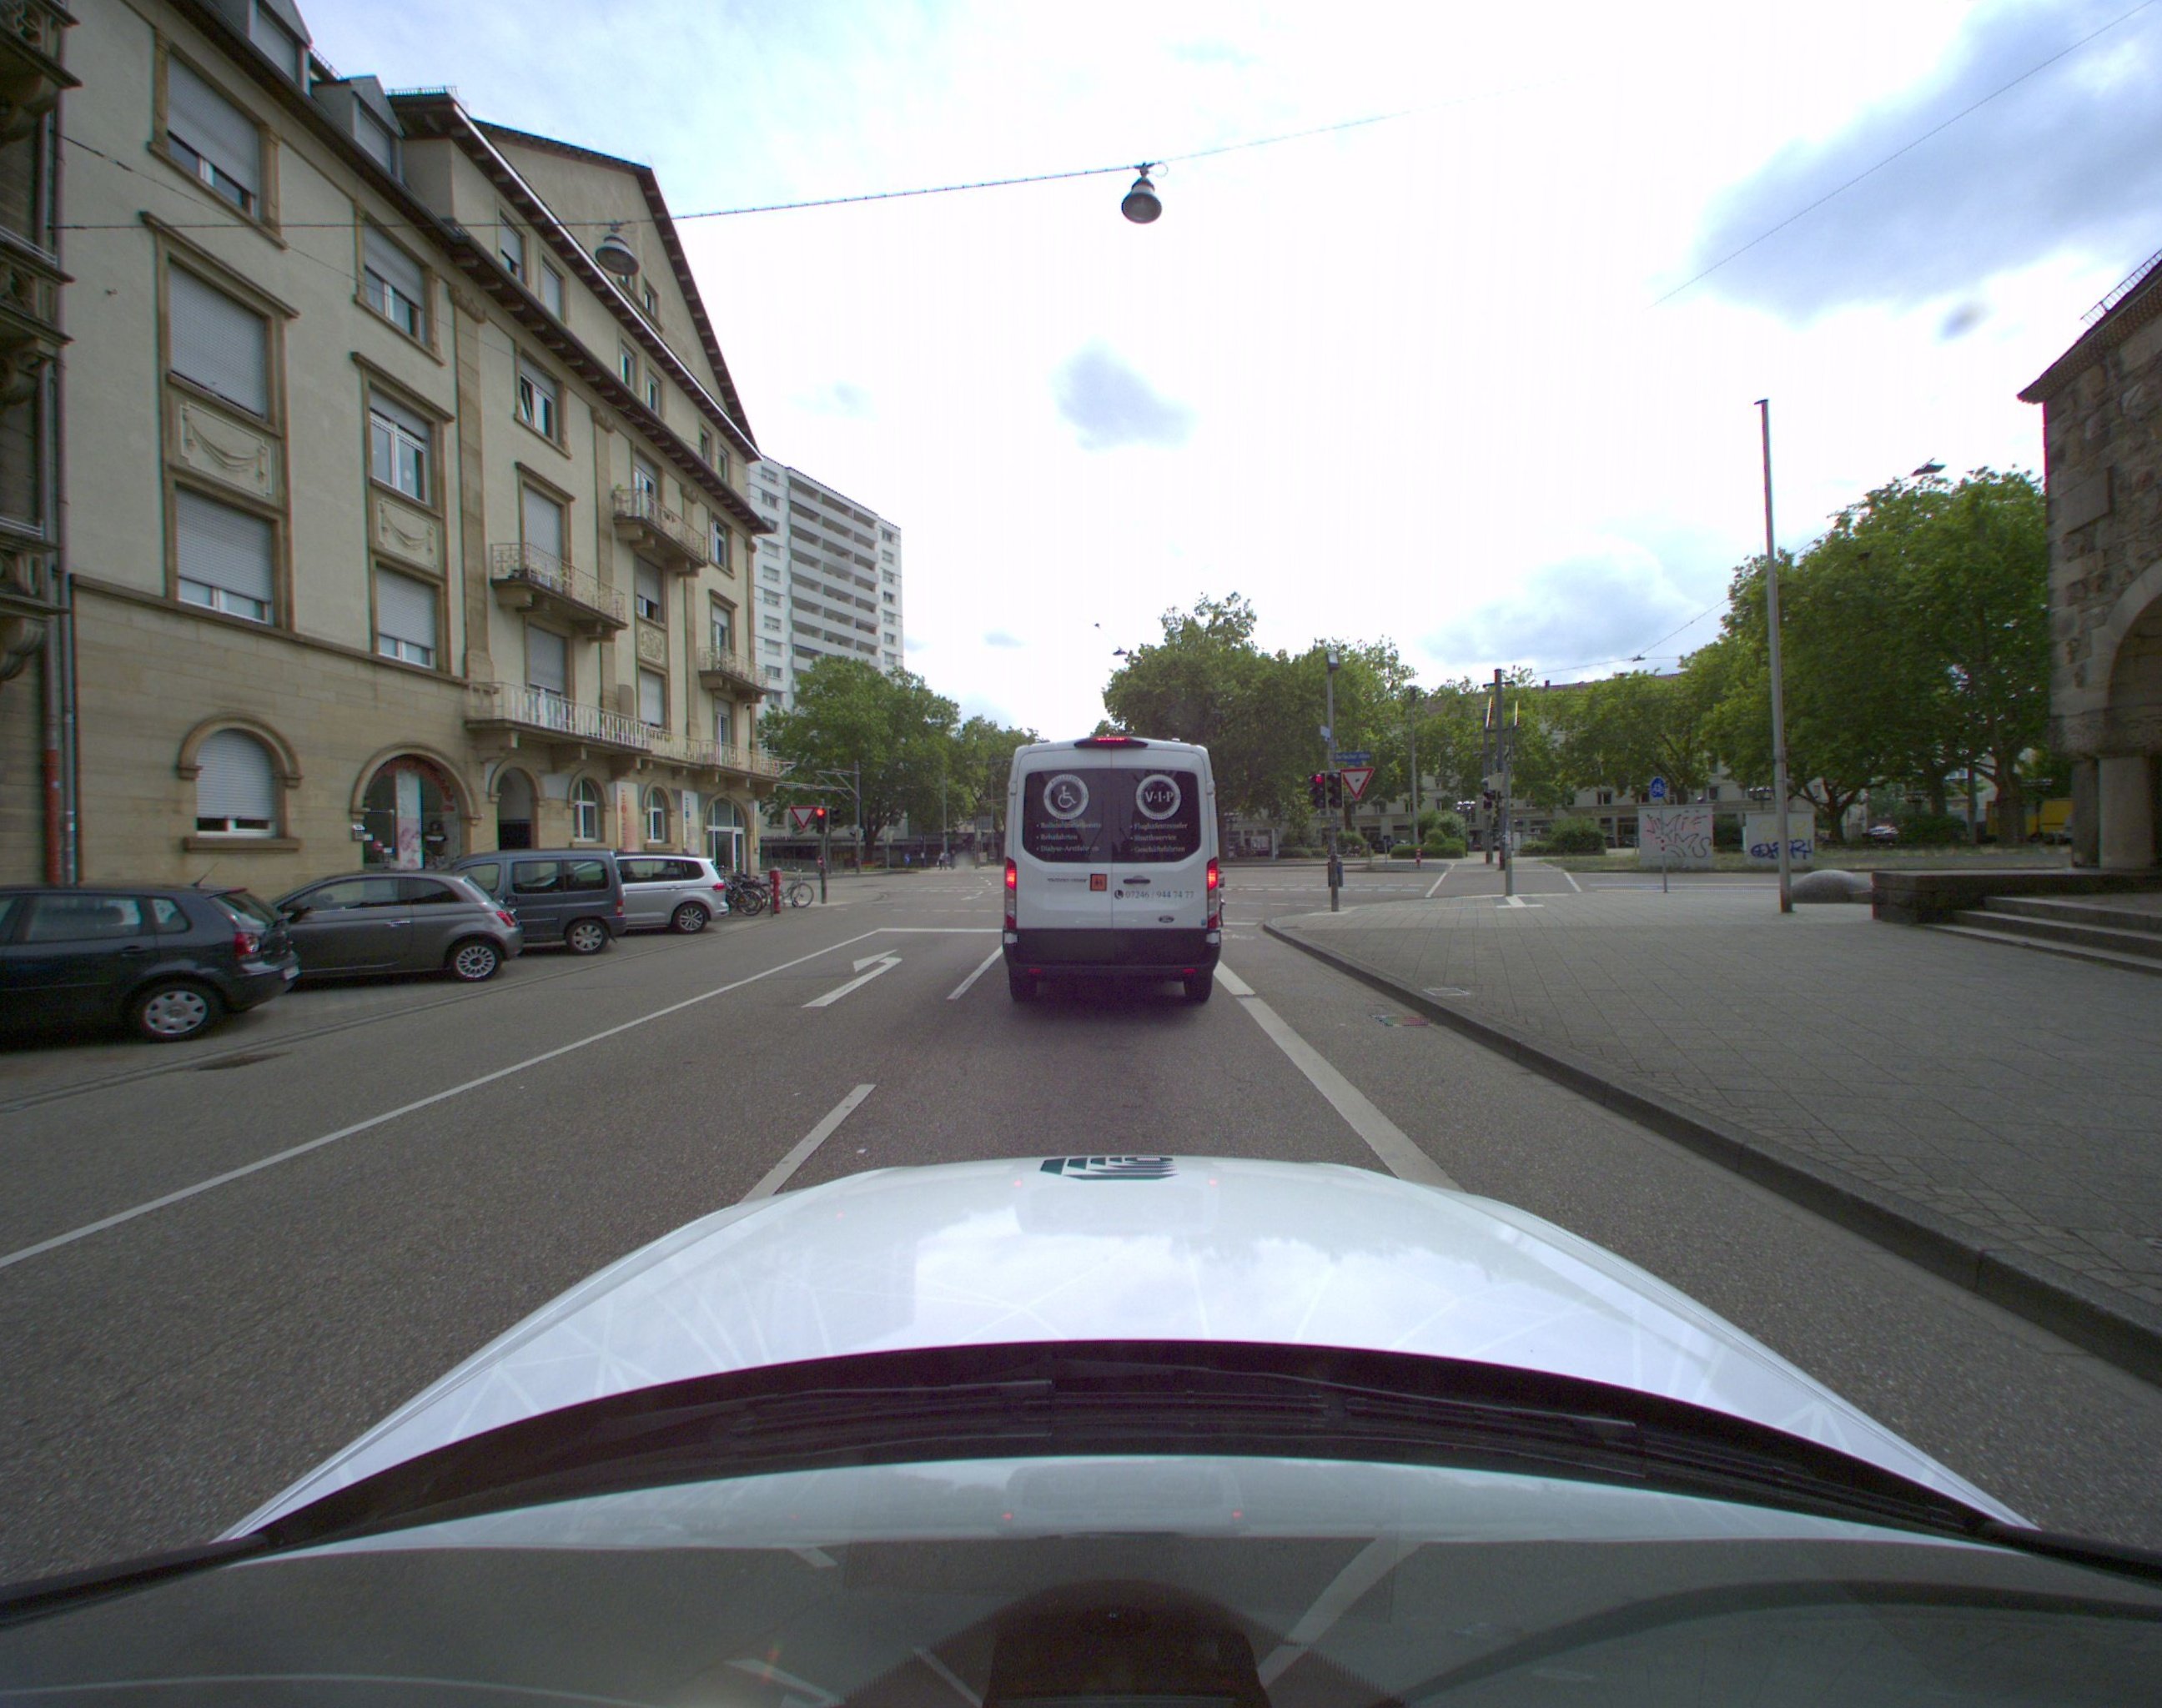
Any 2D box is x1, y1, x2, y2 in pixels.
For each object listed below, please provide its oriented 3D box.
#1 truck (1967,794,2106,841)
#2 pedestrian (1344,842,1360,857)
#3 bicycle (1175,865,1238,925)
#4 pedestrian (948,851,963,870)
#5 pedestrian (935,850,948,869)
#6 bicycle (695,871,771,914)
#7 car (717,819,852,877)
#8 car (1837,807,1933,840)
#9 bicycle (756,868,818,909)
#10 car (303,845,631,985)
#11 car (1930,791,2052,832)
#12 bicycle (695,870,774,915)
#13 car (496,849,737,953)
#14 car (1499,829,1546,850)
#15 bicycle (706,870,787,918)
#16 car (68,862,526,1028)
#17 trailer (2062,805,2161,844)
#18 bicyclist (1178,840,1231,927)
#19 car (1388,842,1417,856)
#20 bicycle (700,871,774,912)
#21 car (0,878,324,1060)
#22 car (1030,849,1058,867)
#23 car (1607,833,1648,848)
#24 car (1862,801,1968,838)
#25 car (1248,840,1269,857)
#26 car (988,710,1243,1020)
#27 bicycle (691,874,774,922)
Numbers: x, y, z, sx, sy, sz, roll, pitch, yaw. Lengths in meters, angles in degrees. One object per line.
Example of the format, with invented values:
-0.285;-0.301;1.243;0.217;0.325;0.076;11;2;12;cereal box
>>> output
58.277;-2.156;49.920;3.042;2.577;6.549;-2;0;25;truck
24.433;-0.422;73.469;1.086;1.236;1.443;-4;-1;6;pedestrian
2.493;0.797;16.435;0.900;1.075;1.969;-2;0;-1;bicycle
-10.309;0.517;66.787;0.922;1.514;0.727;-2;0;16;pedestrian
-11.451;0.445;66.934;0.801;1.572;0.727;-2;0;16;pedestrian
-9.476;1.042;22.210;1.807;1.120;0.593;0;0;-7;bicycle
-22.037;-0.364;60.429;9.793;3.915;3.476;-2;0;26;car
68.673;-2.561;69.692;5.271;2.585;2.512;-2;-1;24;car
-8.668;1.009;24.010;1.859;1.167;0.500;0;0;22;bicycle
-9.836;0.856;13.376;4.031;1.878;1.776;-2;0;-38;car
64.431;-2.980;57.773;5.271;2.585;2.192;-2;-1;24;car
-9.167;1.015;21.593;1.807;1.166;0.593;0;0;-7;bicycle
-9.406;0.846;16.629;4.031;1.773;1.776;-2;0;-38;car
44.027;-1.434;81.267;3.950;1.883;1.868;-2;0;26;car
-8.558;1.018;20.842;1.800;1.120;0.595;2;0;5;bicycle
-9.802;1.004;10.696;4.031;1.651;1.776;-2;0;-38;car
55.345;-1.548;42.850;4.381;1.925;1.865;-2;0;26;trailer
2.492;0.579;16.499;0.901;1.683;0.756;-2;0;-2;bicyclist
35.909;-0.595;91.037;1.983;1.503;4.007;-2;0;6;car
-9.664;1.049;22.912;1.807;1.120;0.593;0;0;-7;bicycle
-9.881;1.049;7.554;3.919;1.443;1.817;-2;0;-35;car
-3.307;0.310;73.605;1.611;1.476;4.011;-2;1;9;car
55.593;-1.366;82.946;1.758;1.503;4.007;-2;0;6;car
66.451;-2.697;65.028;5.271;2.585;2.512;-2;-1;24;car
21.268;-0.623;97.706;1.983;1.930;4.007;-2;0;6;car
0.315;0.053;9.321;2.174;2.647;4.628;-1;1;0;car
-8.629;1.082;20.172;1.799;1.120;0.595;-2;0;8;bicycle
